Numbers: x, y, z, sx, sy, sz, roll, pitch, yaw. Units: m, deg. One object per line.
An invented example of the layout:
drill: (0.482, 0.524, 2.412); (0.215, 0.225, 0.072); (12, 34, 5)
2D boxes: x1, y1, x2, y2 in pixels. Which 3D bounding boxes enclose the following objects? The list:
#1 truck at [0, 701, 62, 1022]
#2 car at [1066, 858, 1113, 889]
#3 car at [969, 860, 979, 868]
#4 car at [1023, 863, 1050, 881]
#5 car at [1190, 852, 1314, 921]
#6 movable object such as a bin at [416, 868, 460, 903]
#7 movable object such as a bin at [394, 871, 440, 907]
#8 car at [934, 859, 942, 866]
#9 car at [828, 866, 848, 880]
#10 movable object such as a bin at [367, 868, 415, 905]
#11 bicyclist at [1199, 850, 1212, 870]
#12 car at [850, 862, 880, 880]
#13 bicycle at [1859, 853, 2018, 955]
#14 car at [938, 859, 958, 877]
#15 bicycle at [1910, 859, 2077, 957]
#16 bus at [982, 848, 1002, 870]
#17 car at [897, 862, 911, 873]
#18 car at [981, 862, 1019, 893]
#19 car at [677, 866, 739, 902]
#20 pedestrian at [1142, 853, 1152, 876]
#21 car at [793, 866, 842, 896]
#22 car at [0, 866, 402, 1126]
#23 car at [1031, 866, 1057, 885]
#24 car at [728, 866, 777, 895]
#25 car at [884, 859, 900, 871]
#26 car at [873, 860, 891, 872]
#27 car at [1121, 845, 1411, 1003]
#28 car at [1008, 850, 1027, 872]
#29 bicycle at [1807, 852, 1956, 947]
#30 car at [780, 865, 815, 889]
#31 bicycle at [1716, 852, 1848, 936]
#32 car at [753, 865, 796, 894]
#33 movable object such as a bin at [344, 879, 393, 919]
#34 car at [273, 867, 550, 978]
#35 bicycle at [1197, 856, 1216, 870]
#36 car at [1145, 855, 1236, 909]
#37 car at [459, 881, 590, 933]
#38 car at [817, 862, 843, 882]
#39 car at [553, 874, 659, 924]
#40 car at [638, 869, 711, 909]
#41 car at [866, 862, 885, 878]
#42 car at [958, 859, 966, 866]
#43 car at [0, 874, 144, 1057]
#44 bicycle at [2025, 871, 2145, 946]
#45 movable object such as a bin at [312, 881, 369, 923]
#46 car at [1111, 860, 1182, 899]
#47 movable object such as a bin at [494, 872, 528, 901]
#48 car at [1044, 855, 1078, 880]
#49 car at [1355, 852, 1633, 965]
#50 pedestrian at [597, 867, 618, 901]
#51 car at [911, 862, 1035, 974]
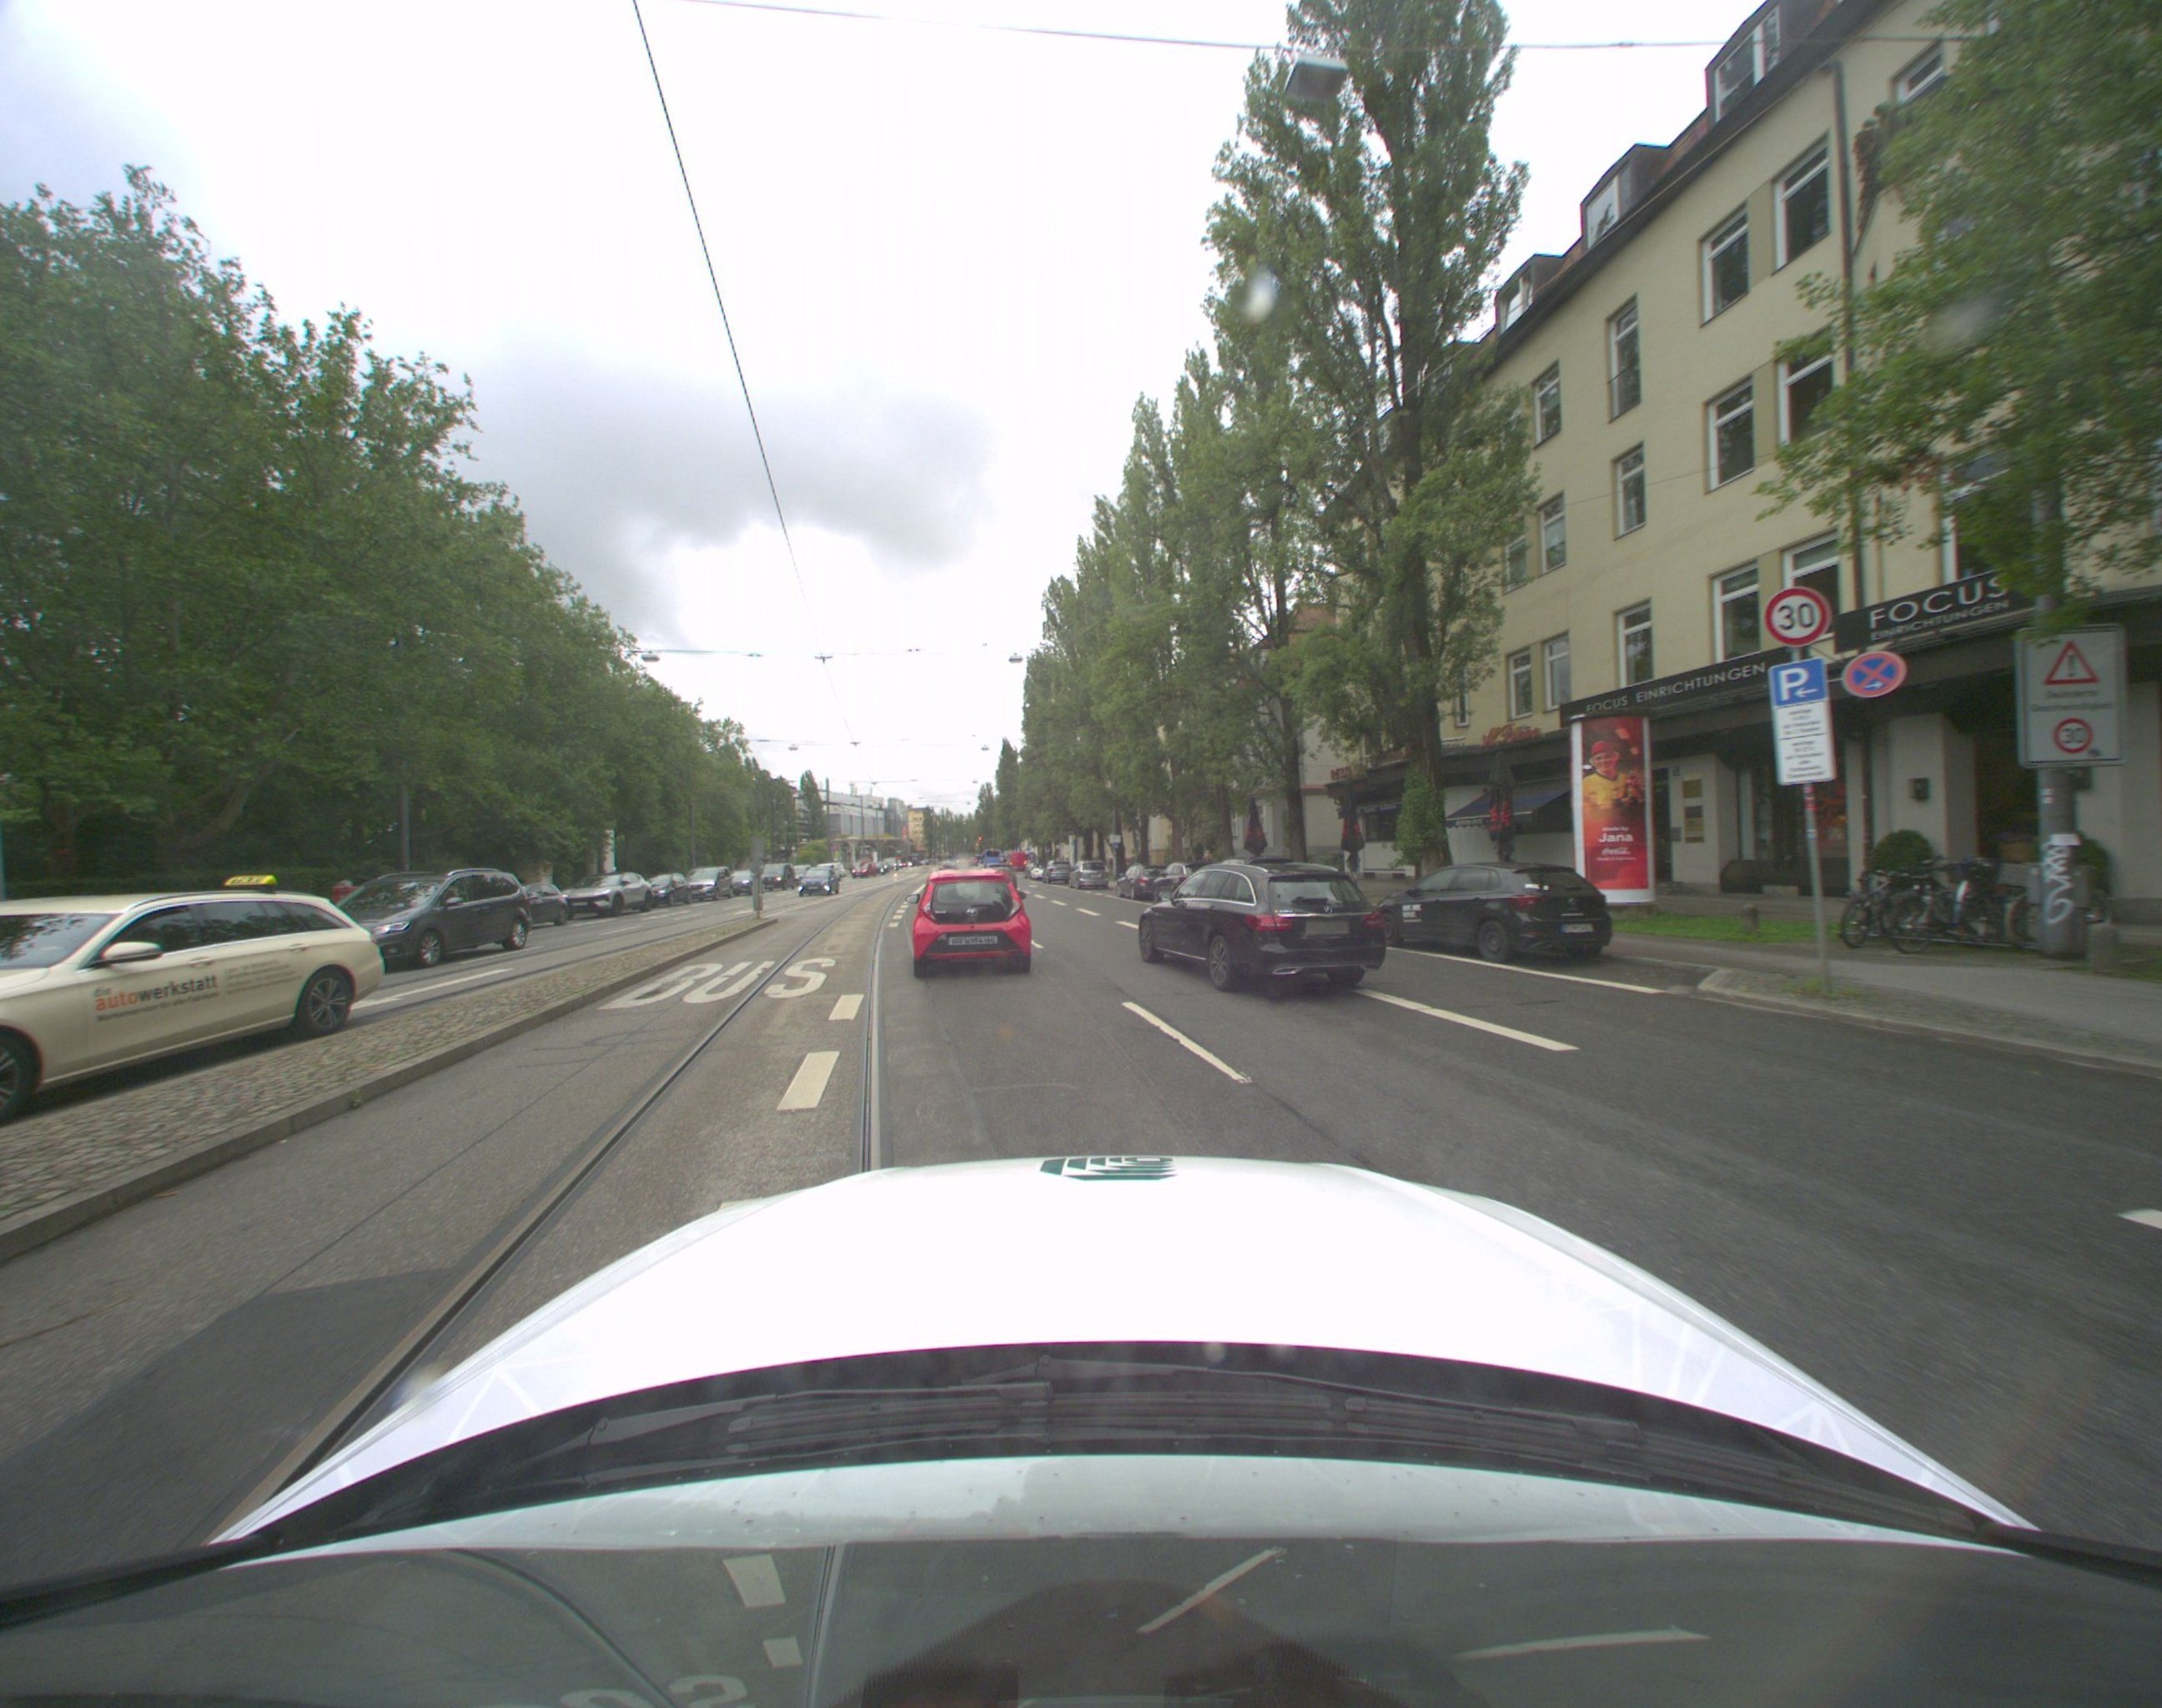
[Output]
truck: (-13.781, 0.077, 4.713); (2.740, 3.980, 11.671); (-3, 0, -11)
car: (0.433, 1.069, 45.808); (1.799, 1.612, 4.531); (-2, 0, -10)
car: (-21.036, 2.002, 160.342); (1.780, 1.486, 3.988); (-2, 0, -9)
car: (-4.091, 1.640, 74.837); (1.800, 1.508, 4.432); (-1, -1, -12)
car: (4.487, 0.816, 22.085); (1.721, 1.612, 4.455); (-2, 0, -10)
movable object such as a bin: (-26.279, 1.280, 33.307); (0.935, 1.353, 1.078); (3, -2, -13)
movable object such as a bin: (-26.099, 1.369, 32.030); (0.935, 1.353, 1.272); (0, -1, -13)
car: (-34.323, 2.072, 195.082); (1.780, 1.486, 3.988); (-2, -1, -9)
car: (-29.942, 2.295, 100.492); (1.800, 1.530, 4.501); (-4, 0, -11)
movable object such as a bin: (-25.949, 1.199, 30.652); (0.935, 1.353, 1.124); (1, -1, -13)
bicyclist: (8.511, 0.426, 55.617); (0.660, 1.314, 0.703); (-2, 0, -11)
car: (-24.737, 1.926, 93.280); (1.791, 1.788, 4.525); (-4, 0, 5)
bicycle: (11.004, 0.617, 10.457); (1.885, 1.185, 0.494); (-2, -1, -13)
car: (-12.351, 1.292, 76.020); (1.735, 1.549, 4.562); (-2, 0, -9)
bicycle: (11.140, 0.634, 9.948); (1.885, 1.082, 0.494); (-2, -1, -13)
bus: (-15.340, 0.821, 140.338); (2.905, 3.395, 10.774); (-1, 1, -9)
car: (-29.847, 2.288, 137.348); (1.797, 1.665, 4.509); (-4, 0, -6)
car: (-4.376, 1.219, 43.617); (1.780, 1.486, 3.988); (-2, -1, -9)
car: (-20.239, 1.581, 44.369); (1.799, 1.779, 4.459); (-2, 0, -9)
pedestrian: (5.266, 0.837, 64.792); (0.591, 1.738, 0.822); (-1, 1, -9)
car: (-14.420, 1.450, 44.771); (1.799, 1.522, 4.341); (-3, -1, -9)
car: (-8.040, 0.951, 6.503); (1.822, 1.638, 4.873); (-2, 0, -11)
car: (-3.155, 1.780, 69.300); (1.799, 1.508, 3.988); (-2, -1, -9)
car: (-20.490, 1.636, 50.991); (1.799, 1.634, 4.574); (-2, 0, -9)
car: (-28.510, 1.646, 123.006); (1.798, 1.665, 4.506); (-4, 0, -8)
car: (-26.974, 1.659, 110.683); (1.798, 1.530, 4.506); (-4, 0, -8)
car: (2.096, 0.713, 10.834); (1.866, 1.549, 4.682); (-2, 0, -13)
car: (-8.090, 0.870, 103.642); (1.993, 2.574, 4.666); (-1, 1, -9)
bicycle: (10.967, 0.601, 11.163); (1.885, 1.185, 0.494); (-2, -1, -13)
car: (-23.229, 1.832, 66.865); (1.799, 1.788, 4.505); (-4, 0, -9)
bicycle: (10.759, 0.598, 12.504); (1.885, 1.185, 0.494); (-2, -1, -13)
car: (-22.232, 1.803, 59.282); (1.799, 1.991, 5.024); (-2, 0, -9)
movable object such as a bin: (-25.565, 1.613, 29.246); (0.935, 1.353, 1.009); (-1, -1, -13)
car: (-12.381, 1.134, 15.595); (1.821, 1.683, 4.875); (-2, 0, -9)
bicycle: (8.529, 0.617, 55.520); (0.652, 0.923, 1.896); (-2, 0, -10)
car: (3.592, 0.889, 27.448); (1.799, 1.612, 4.290); (-2, 0, -10)
car: (-17.616, 1.625, 26.031); (1.821, 1.381, 4.086); (-2, 0, -9)
car: (-25.547, 1.830, 83.013); (1.799, 1.861, 4.615); (-4, 0, -9)
car: (-18.313, 1.666, 31.706); (1.799, 1.642, 4.984); (-2, 0, -9)
car: (-19.297, 1.613, 38.849); (1.799, 1.667, 4.341); (-2, 0, -9)
car: (-25.628, 1.951, 101.714); (1.800, 1.788, 4.502); (-4, 0, -10)
car: (-32.523, 2.308, 223.043); (1.801, 1.596, 3.992); (-1, -3, -5)
car: (-10.843, 1.070, 6.379); (1.915, 1.683, 4.873); (-2, 0, -10)
bicycle: (12.816, 0.679, 10.398); (1.368, 0.883, 0.387); (-2, -1, -13)
movable object such as a bin: (-25.221, 1.624, 27.754); (0.935, 1.353, 1.078); (4, -2, -13)
car: (2.597, 0.986, 33.257); (1.799, 1.398, 4.366); (-2, 0, -10)
movable object such as a bin: (-26.988, 1.544, 38.565); (0.935, 1.353, 1.153); (1, -1, -13)
car: (-1.509, 0.964, 59.237); (1.799, 1.743, 4.684); (-2, 0, -10)
car: (6.293, 0.750, 12.993); (1.801, 1.466, 3.982); (-1, -1, -13)
pedestrian: (-25.532, 1.622, 43.943); (0.662, 1.790, 0.818); (-1, -1, -1)
car: (-1.737, 0.846, 12.414); (1.629, 1.440, 3.363); (-1, -1, -11)
